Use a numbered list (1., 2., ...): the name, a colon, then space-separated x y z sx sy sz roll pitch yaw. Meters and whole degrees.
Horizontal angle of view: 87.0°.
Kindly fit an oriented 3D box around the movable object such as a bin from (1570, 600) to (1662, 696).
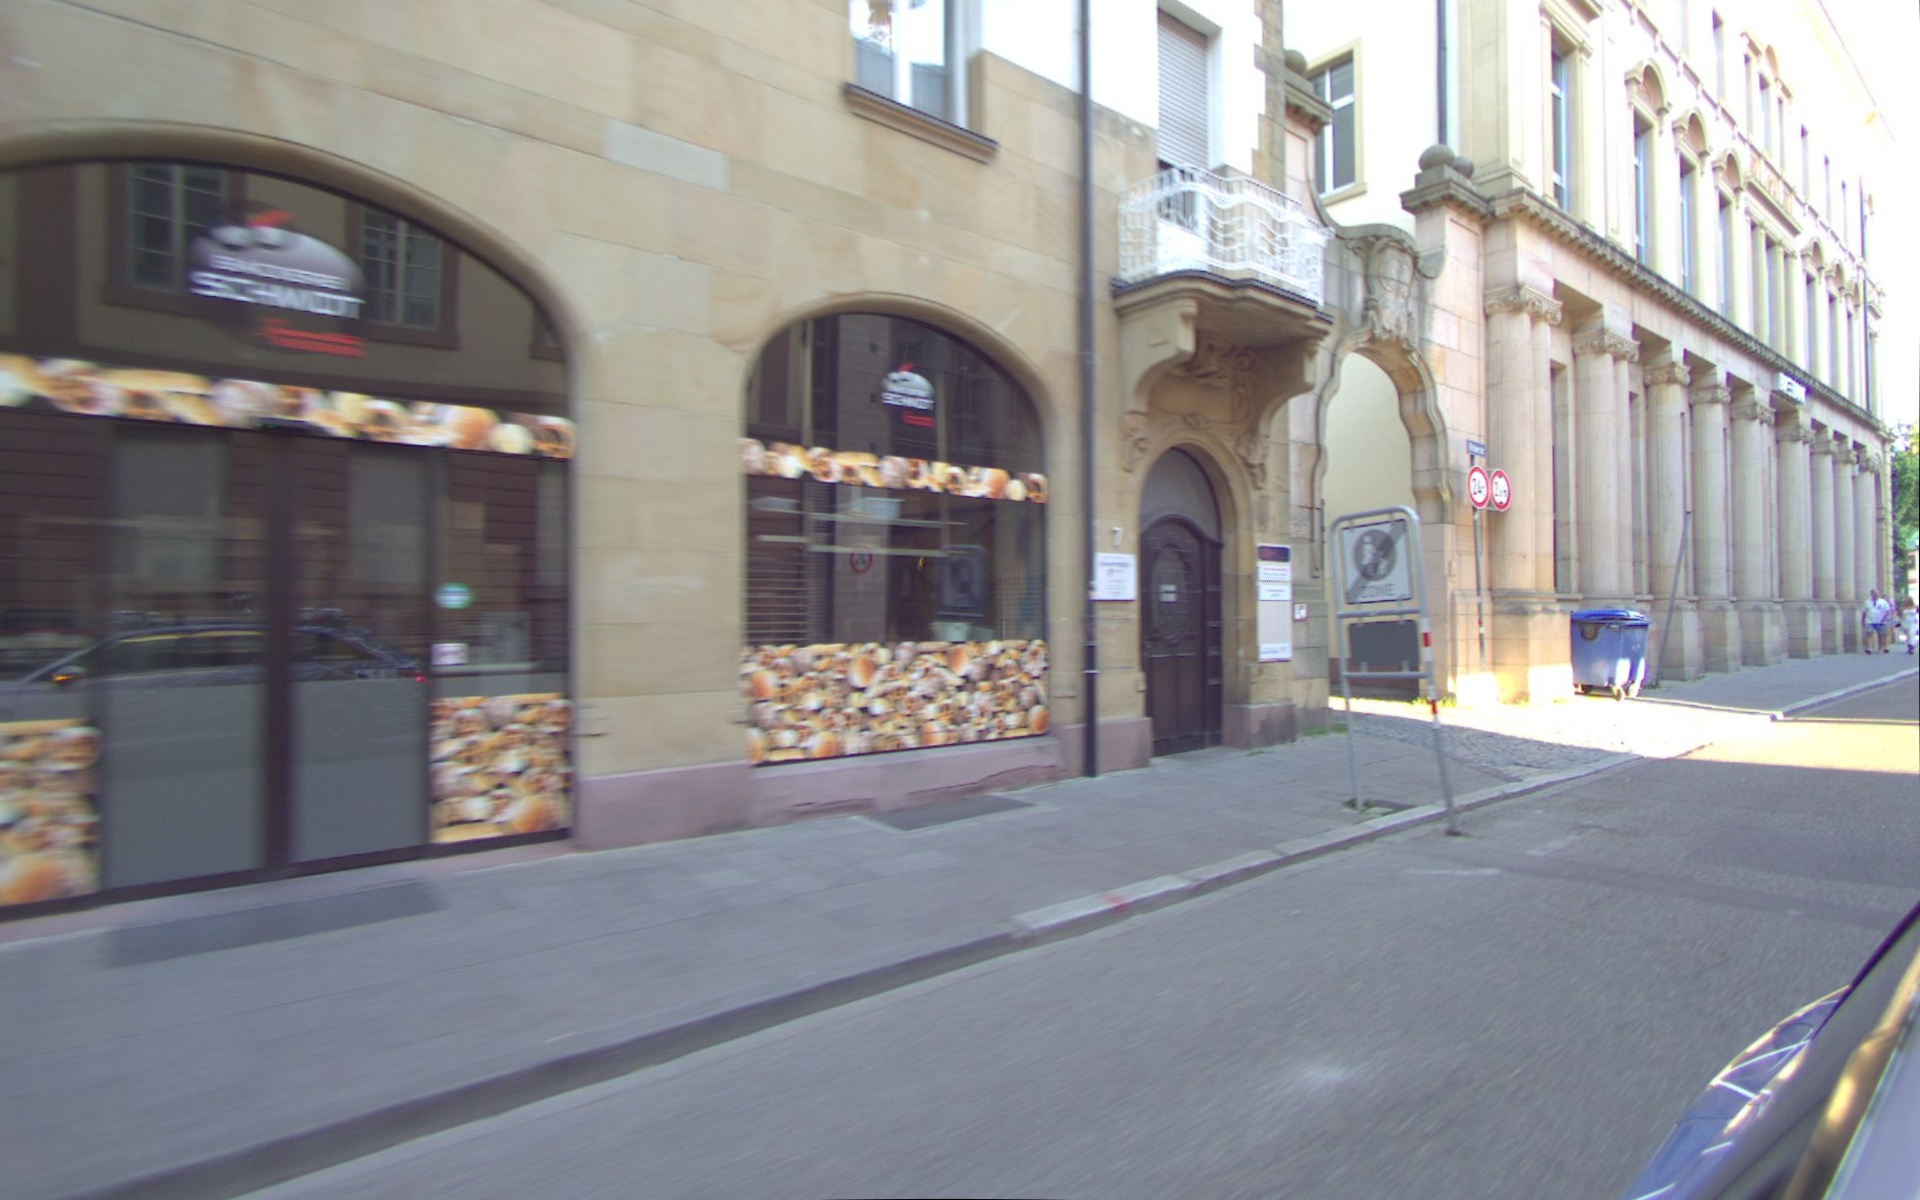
1. movable object such as a bin: 10.158 0.706 15.670 1.118 1.392 0.898 0 2 -41

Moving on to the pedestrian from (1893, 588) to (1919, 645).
1. pedestrian: 27.597 0.469 29.202 0.908 1.618 0.855 0 2 -42

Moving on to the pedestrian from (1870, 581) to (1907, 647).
1. pedestrian: 26.253 0.390 28.611 0.745 1.801 0.648 0 2 -42
